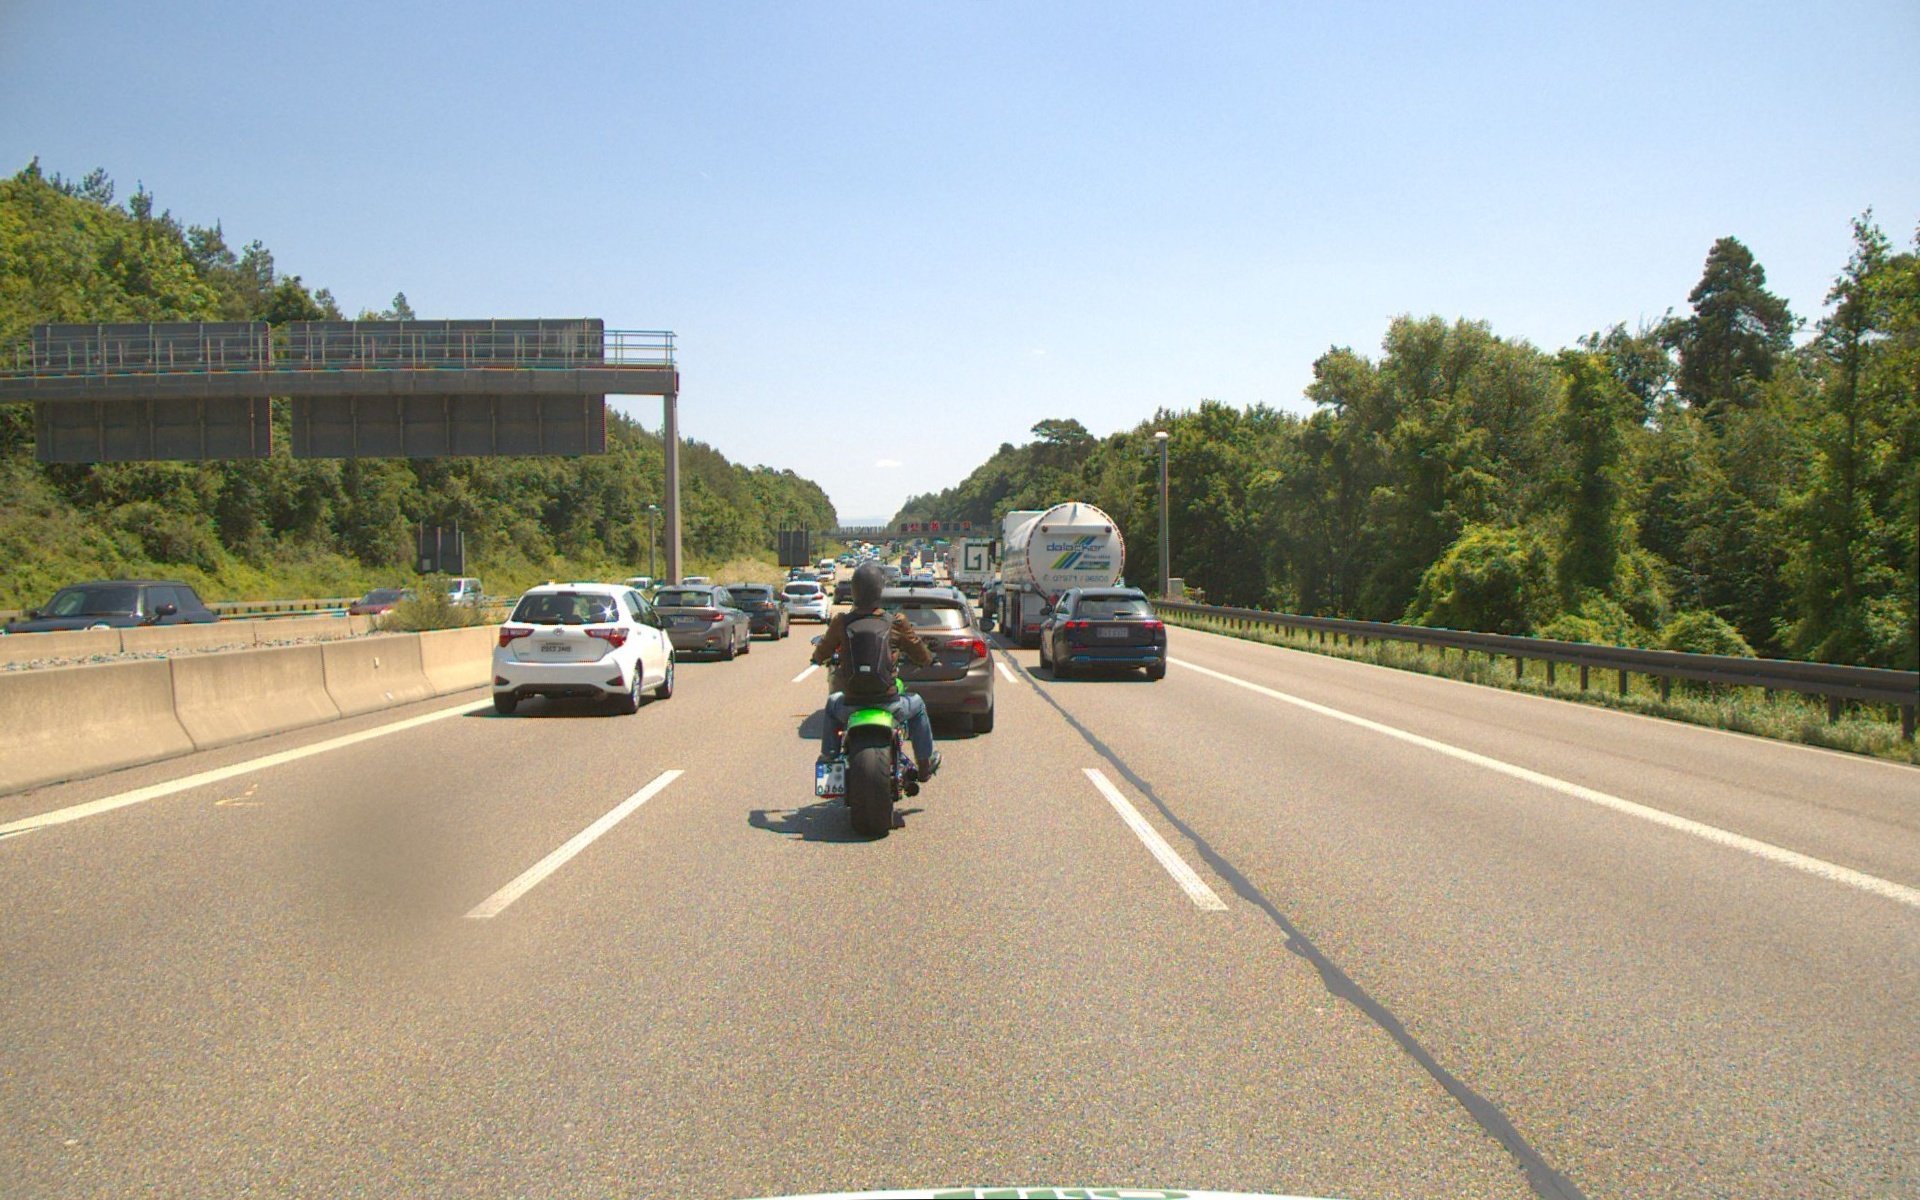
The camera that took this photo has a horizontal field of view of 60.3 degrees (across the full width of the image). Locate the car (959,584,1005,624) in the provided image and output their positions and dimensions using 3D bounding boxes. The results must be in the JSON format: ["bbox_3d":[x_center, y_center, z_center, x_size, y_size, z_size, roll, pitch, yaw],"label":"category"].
[{"bbox_3d":[0.858,0.183,66.680,1.740,1.554,3.999,0,-1,-1],"label":"car"}]

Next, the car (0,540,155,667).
[{"bbox_3d":[-15.930,0.042,28.779,1.953,2.049,3.999,0,0,-1],"label":"car"}]

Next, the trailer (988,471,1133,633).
[{"bbox_3d":[2.431,-1.047,43.657,2.771,3.735,10.727,0,-1,-2],"label":"trailer"}]

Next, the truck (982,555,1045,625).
[{"bbox_3d":[2.392,-0.443,76.081,2.340,3.031,8.249,0,0,-2],"label":"truck"}]

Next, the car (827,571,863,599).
[{"bbox_3d":[-6.307,-0.806,90.781,1.728,1.467,3.999,0,-1,-1],"label":"car"}]

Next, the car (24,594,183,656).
[{"bbox_3d":[-21.680,0.633,42.059,1.953,1.473,3.999,0,-1,-1],"label":"car"}]

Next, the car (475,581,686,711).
[{"bbox_3d":[-4.556,0.535,20.436,1.740,1.435,3.999,0,-1,-1],"label":"car"}]

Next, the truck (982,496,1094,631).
[{"bbox_3d":[2.228,-0.994,49.310,2.771,3.735,6.426,0,-1,-2],"label":"truck"}]

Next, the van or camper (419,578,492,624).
[{"bbox_3d":[-23.421,0.085,76.942,1.953,2.049,4.680,0,-1,-1],"label":"van or camper"}]

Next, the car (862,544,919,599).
[{"bbox_3d":[-2.441,-0.986,58.689,1.953,1.806,3.998,1,-1,-2],"label":"car"}]

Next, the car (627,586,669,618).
[{"bbox_3d":[-20.494,0.137,108.868,1.953,2.049,4.472,0,-1,-1],"label":"car"}]

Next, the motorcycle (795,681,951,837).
[{"bbox_3d":[-0.534,0.997,10.922,0.917,0.807,2.298,0,0,-1],"label":"motorcycle"}]

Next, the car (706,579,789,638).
[{"bbox_3d":[-5.597,0.244,43.955,1.954,1.490,3.996,1,-1,-5],"label":"car"}]

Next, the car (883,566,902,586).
[{"bbox_3d":[-7.036,-2.529,172.889,1.953,2.049,3.999,-1,0,-1],"label":"car"}]

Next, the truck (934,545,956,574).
[{"bbox_3d":[-1.959,-5.156,211.903,2.641,3.465,10.475,-1,0,-1],"label":"truck"}]

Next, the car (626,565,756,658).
[{"bbox_3d":[-5.306,0.238,33.185,1.953,1.713,4.329,0,-1,-1],"label":"car"}]

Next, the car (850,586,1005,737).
[{"bbox_3d":[-0.356,0.598,18.249,1.509,1.475,3.999,0,0,-1],"label":"car"}]

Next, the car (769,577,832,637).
[{"bbox_3d":[-5.652,0.263,59.144,1.953,2.049,3.998,0,-1,-2],"label":"car"}]

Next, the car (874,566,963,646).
[{"bbox_3d":[-0.975,0.151,38.472,1.953,1.741,3.998,1,-1,-2],"label":"car"}]

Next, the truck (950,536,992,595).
[{"bbox_3d":[0.836,-2.353,116.179,2.794,3.888,7.188,0,-1,2],"label":"truck"}]

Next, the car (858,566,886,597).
[{"bbox_3d":[-5.736,-1.201,108.374,1.627,2.012,3.999,0,0,-1],"label":"car"}]

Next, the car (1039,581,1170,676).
[{"bbox_3d":[2.389,0.477,28.359,1.756,1.484,4.622,0,-1,-1],"label":"car"}]

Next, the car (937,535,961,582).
[{"bbox_3d":[-1.062,-3.770,153.626,2.123,3.961,9.327,0,-1,-1],"label":"car"}]

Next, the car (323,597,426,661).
[{"bbox_3d":[-19.738,0.958,55.910,1.953,2.049,4.282,0,-1,0],"label":"car"}]

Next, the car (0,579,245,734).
[{"bbox_3d":[-11.531,0.719,22.556,1.868,1.915,3.998,0,-1,-2],"label":"car"}]

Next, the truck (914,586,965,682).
[{"bbox_3d":[-1.143,1.578,84.791,2.340,4.542,10.865,0,1,-2],"label":"truck"}]

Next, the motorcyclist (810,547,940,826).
[{"bbox_3d":[-0.533,0.540,10.719,0.782,1.717,1.016,0,-1,-1],"label":"motorcyclist"}]

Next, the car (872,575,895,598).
[{"bbox_3d":[-5.738,-1.006,124.663,1.627,1.627,3.999,0,0,-1],"label":"car"}]
